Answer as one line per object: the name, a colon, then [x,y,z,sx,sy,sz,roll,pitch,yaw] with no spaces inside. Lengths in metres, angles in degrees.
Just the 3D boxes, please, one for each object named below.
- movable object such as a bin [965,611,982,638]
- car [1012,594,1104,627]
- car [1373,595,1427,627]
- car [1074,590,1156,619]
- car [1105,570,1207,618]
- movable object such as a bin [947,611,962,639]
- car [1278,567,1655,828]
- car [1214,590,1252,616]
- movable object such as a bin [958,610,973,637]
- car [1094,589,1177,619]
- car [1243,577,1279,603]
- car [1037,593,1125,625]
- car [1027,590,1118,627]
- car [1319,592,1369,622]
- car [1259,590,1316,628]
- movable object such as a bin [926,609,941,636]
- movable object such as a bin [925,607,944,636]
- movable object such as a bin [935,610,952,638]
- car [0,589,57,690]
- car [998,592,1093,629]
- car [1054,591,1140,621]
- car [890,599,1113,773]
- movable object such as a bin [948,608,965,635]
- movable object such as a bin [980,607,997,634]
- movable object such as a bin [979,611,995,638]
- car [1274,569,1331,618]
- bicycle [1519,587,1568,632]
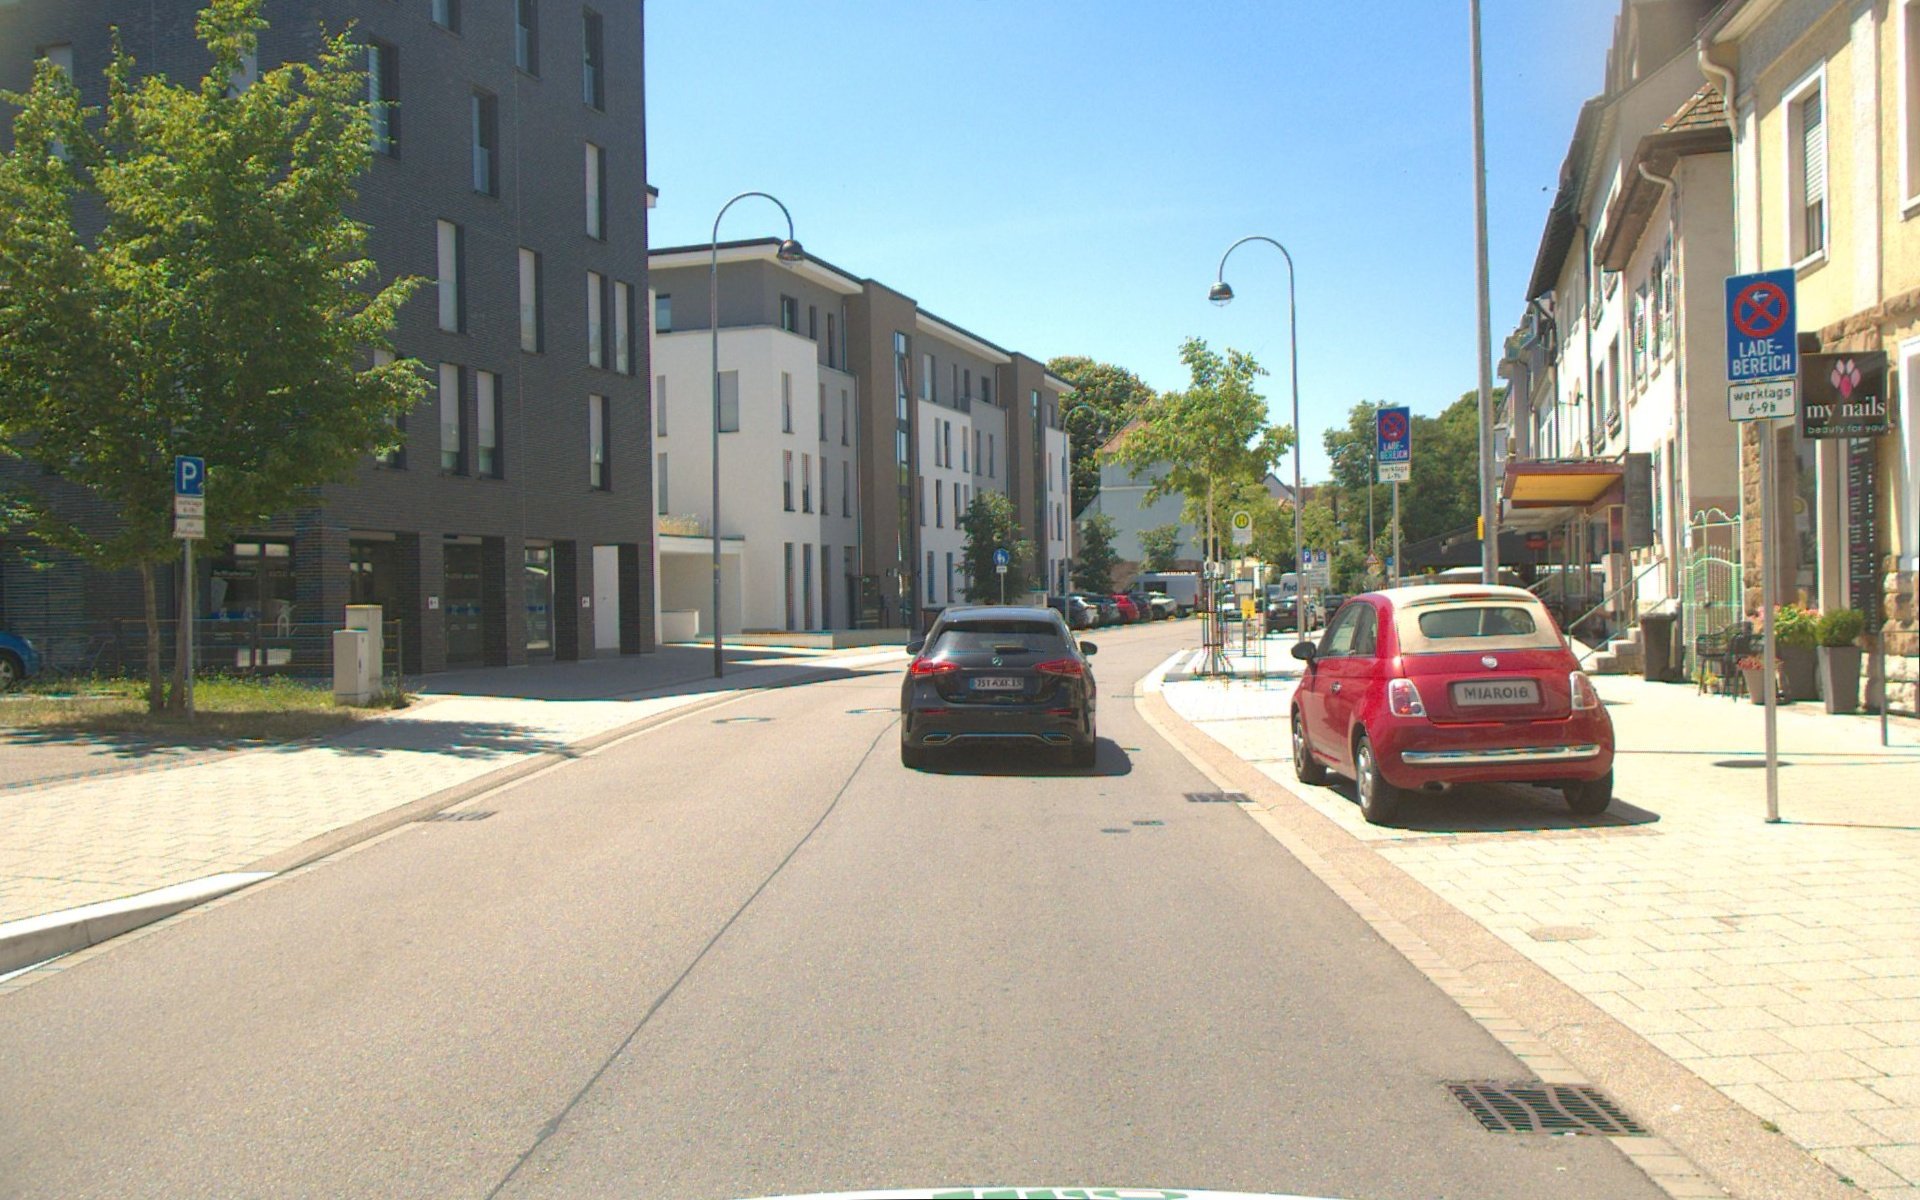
movable object such as a bin: [0.515,0.907,61.977,0.473,1.015,0.588,-1,0,17]
car: [4.572,0.470,76.928,3.904,1.446,1.911,1,0,19]
car: [24.670,0.605,92.700,1.838,1.517,3.853,-2,1,31]
car: [8.322,0.231,88.641,4.110,1.463,1.887,1,0,14]
car: [11.644,-0.353,98.317,5.647,2.780,2.292,1,0,19]
movable object such as a bin: [-0.211,0.937,62.356,0.394,1.015,0.556,-1,0,17]
car: [3.465,0.601,11.944,1.645,1.540,3.387,-3,0,0]
car: [15.320,0.150,92.733,1.632,1.420,3.850,0,0,17]
movable object such as a bin: [0.206,0.889,62.252,0.394,1.015,0.556,-1,0,17]
car: [9.950,0.210,93.783,4.360,1.619,2.001,1,0,18]
car: [20.360,-0.664,111.753,1.901,1.687,4.238,0,0,17]
car: [6.007,0.416,82.074,3.949,1.523,2.000,1,0,20]
car: [5.389,0.380,79.313,3.949,1.680,2.000,1,0,20]
car: [19.216,0.328,82.617,1.689,1.430,4.609,-2,0,22]
car: [14.064,0.397,70.942,1.794,1.508,4.097,-3,-1,19]
movable object such as a bin: [-1.010,0.868,62.760,0.472,1.015,0.588,-1,0,11]
movable object such as a bin: [-0.980,0.828,64.046,0.678,1.115,0.648,-1,0,1]
movable object such as a bin: [-0.615,0.897,61.914,0.473,1.015,0.526,-1,0,19]
car: [-15.649,0.624,24.111,1.663,1.512,4.070,-2,-1,31]
car: [3.894,0.475,74.832,3.903,1.541,2.001,1,2,19]
car: [6.963,0.281,83.914,3.949,1.455,2.000,1,0,20]
car: [0.271,0.735,16.087,1.792,1.467,3.997,0,0,-4]
movable object such as a bin: [-0.138,0.845,65.005,0.661,1.057,0.605,-1,0,1]
movable object such as a bin: [1.106,0.791,64.729,0.542,1.038,0.561,-1,0,13]
movable object such as a bin: [0.999,0.915,61.626,0.472,1.015,0.588,-1,0,11]
car: [19.106,-0.342,92.110,2.084,2.676,5.276,-1,0,23]
bicycle: [16.007,0.251,45.376,1.245,1.204,0.414,1,-1,26]
